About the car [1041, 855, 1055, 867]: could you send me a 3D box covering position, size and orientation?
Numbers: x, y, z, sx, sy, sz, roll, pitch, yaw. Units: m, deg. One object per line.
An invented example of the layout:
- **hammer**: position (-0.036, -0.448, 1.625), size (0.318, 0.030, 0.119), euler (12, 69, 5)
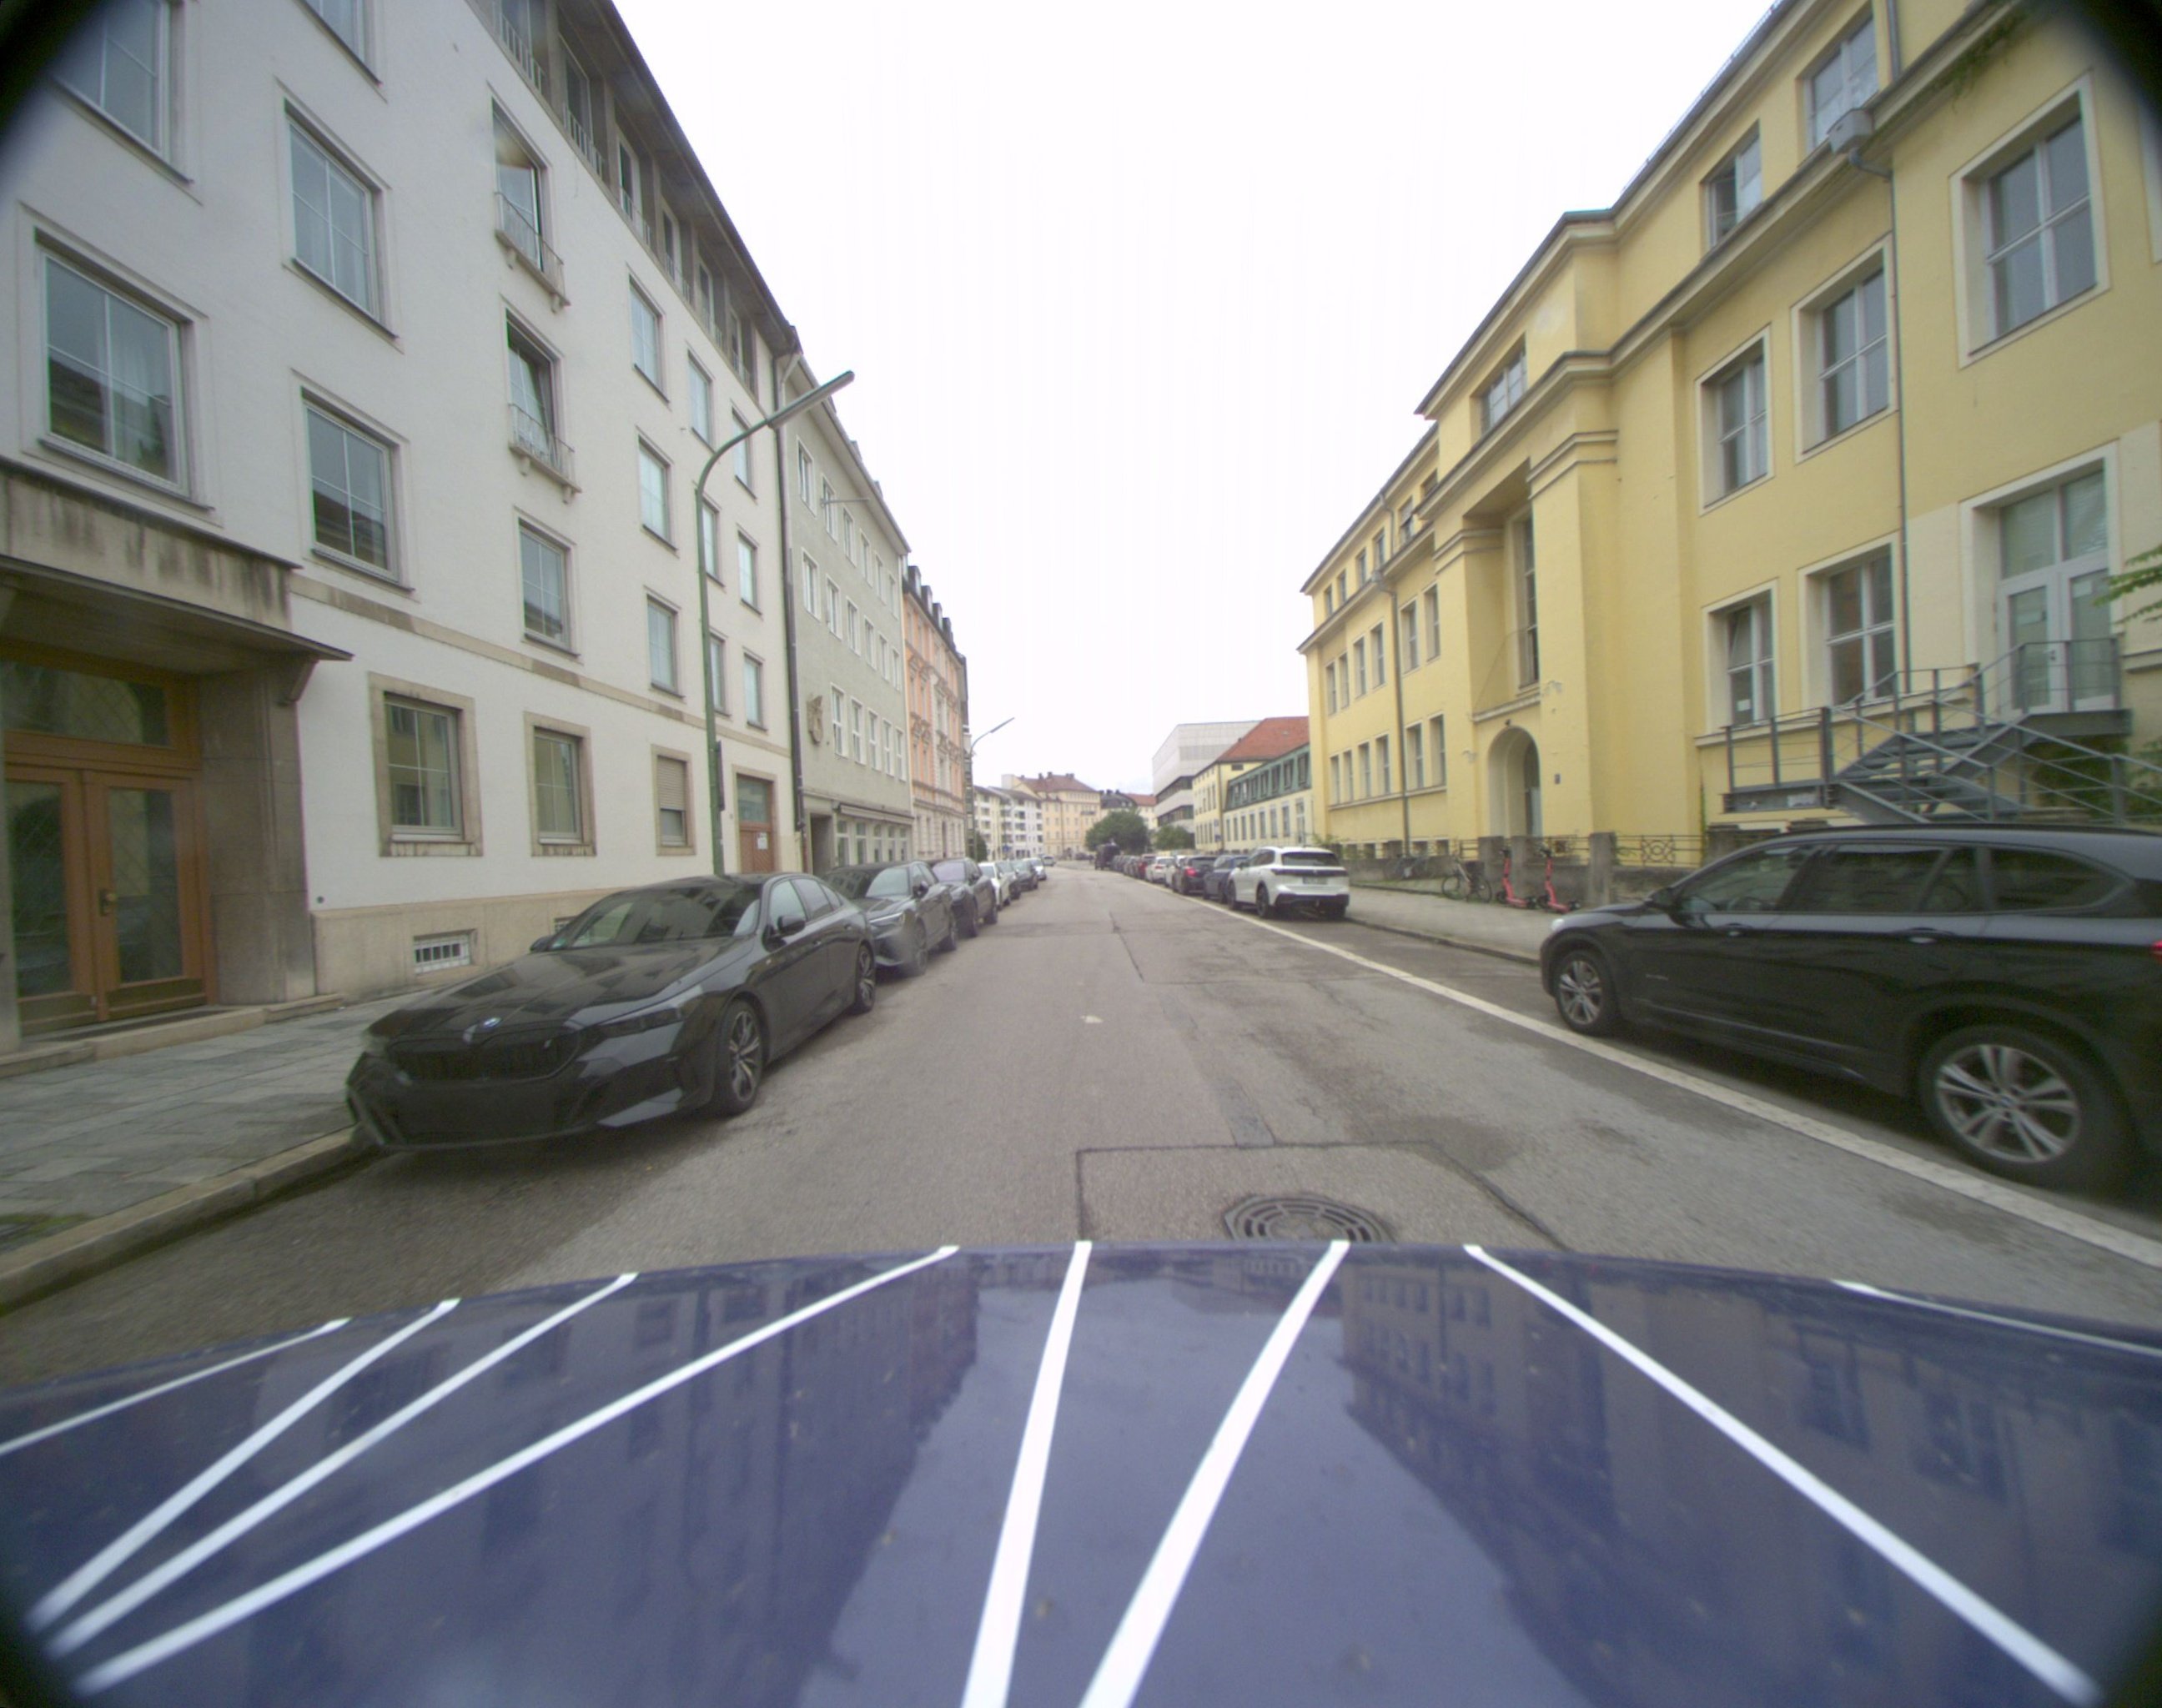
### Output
- **car**: position (-5.464, 1.169, 125.895), size (1.921, 1.837, 5.319), euler (-2, -1, -7)

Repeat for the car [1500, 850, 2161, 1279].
- **car**: position (4.849, 0.773, 4.623), size (1.794, 1.577, 4.816), euler (0, 1, -2)

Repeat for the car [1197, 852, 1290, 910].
- **car**: position (4.823, 0.751, 23.215), size (1.708, 1.493, 4.493), euler (2, 1, -2)

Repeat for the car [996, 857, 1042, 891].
- **car**: position (-2.902, 0.903, 36.376), size (1.692, 1.394, 4.363), euler (-3, 1, 1)

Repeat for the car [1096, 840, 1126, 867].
- **car**: position (3.210, -0.065, 83.002), size (2.220, 2.837, 6.192), euler (0, 0, -8)

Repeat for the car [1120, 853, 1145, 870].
- **car**: position (4.508, 0.656, 67.317), size (1.918, 1.473, 4.531), euler (0, 0, 0)

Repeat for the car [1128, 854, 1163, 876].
- **car**: position (4.333, 0.688, 51.480), size (1.754, 1.397, 4.353), euler (0, 0, -4)

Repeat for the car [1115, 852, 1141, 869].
- **car**: position (4.400, 0.597, 72.078), size (1.919, 1.578, 4.351), euler (1, -1, -3)

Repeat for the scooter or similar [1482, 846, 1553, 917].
- **scooter or similar**: position (8.911, 0.530, 15.555), size (0.561, 1.361, 1.501), euler (-2, 1, 0)

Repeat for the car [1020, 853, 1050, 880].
- **car**: position (-3.185, 0.848, 52.174), size (1.686, 1.664, 3.801), euler (-5, 1, -8)

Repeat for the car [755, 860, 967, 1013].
- **car**: position (-2.959, 0.996, 11.333), size (1.649, 1.580, 4.633), euler (-5, 1, 0)

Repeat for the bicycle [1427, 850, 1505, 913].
- **bicycle**: position (8.857, 0.592, 17.573), size (0.682, 1.321, 2.113), euler (-3, 1, 0)

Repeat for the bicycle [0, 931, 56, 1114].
- **bicycle**: position (-7.515, 1.165, 4.425), size (0.514, 1.215, 1.987), euler (-3, 0, -7)

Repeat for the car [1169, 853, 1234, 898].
- **car**: position (4.412, 0.737, 28.321), size (1.703, 1.488, 4.148), euler (1, 1, 0)

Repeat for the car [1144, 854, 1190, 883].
- **car**: position (4.609, 0.720, 41.134), size (1.799, 1.421, 4.663), euler (0, 1, -2)

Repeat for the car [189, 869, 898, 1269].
- **car**: position (-3.043, 1.021, 6.078), size (1.807, 1.476, 5.318), euler (-6, 1, -1)

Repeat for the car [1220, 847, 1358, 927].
- **car**: position (4.780, 0.672, 18.247), size (1.750, 1.624, 4.854), euler (-1, 1, -3)

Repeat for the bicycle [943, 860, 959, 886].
- **bicycle**: position (-7.129, 1.025, 41.776), size (0.597, 1.377, 2.091), euler (-2, 0, -4)

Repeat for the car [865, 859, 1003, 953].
- **car**: position (-2.920, 0.962, 16.200), size (1.844, 1.513, 4.708), euler (-4, 1, 1)

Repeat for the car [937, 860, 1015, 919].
- **car**: position (-3.125, 1.010, 23.515), size (1.677, 1.421, 4.529), euler (-4, 1, 0)

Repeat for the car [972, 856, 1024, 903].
- **car**: position (-3.166, 0.933, 29.710), size (1.711, 1.583, 4.360), euler (-4, 0, -3)

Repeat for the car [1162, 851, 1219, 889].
- **car**: position (4.747, 0.666, 33.554), size (1.789, 1.423, 4.651), euler (-3, 1, 0)

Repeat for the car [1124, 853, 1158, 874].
- **car**: position (4.399, 0.681, 56.520), size (2.020, 1.410, 4.614), euler (0, 1, -2)

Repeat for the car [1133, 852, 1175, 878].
- **car**: position (4.431, 0.620, 46.821), size (1.963, 1.473, 4.527), euler (0, 1, -3)

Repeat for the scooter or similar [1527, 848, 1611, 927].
- **scooter or similar**: position (8.952, 0.584, 14.004), size (0.561, 1.361, 1.501), euler (-2, 1, 0)

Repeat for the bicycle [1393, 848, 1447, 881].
- **bicycle**: position (11.466, 0.336, 25.712), size (1.662, 1.044, 0.425), euler (-2, 1, -7)

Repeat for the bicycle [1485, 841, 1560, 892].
- **bicycle**: position (11.580, 0.326, 19.952), size (1.630, 1.261, 0.527), euler (-2, 1, 1)

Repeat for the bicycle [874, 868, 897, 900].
- **bicycle**: position (-7.667, 1.155, 29.891), size (0.385, 1.151, 1.949), euler (-3, 0, -1)
